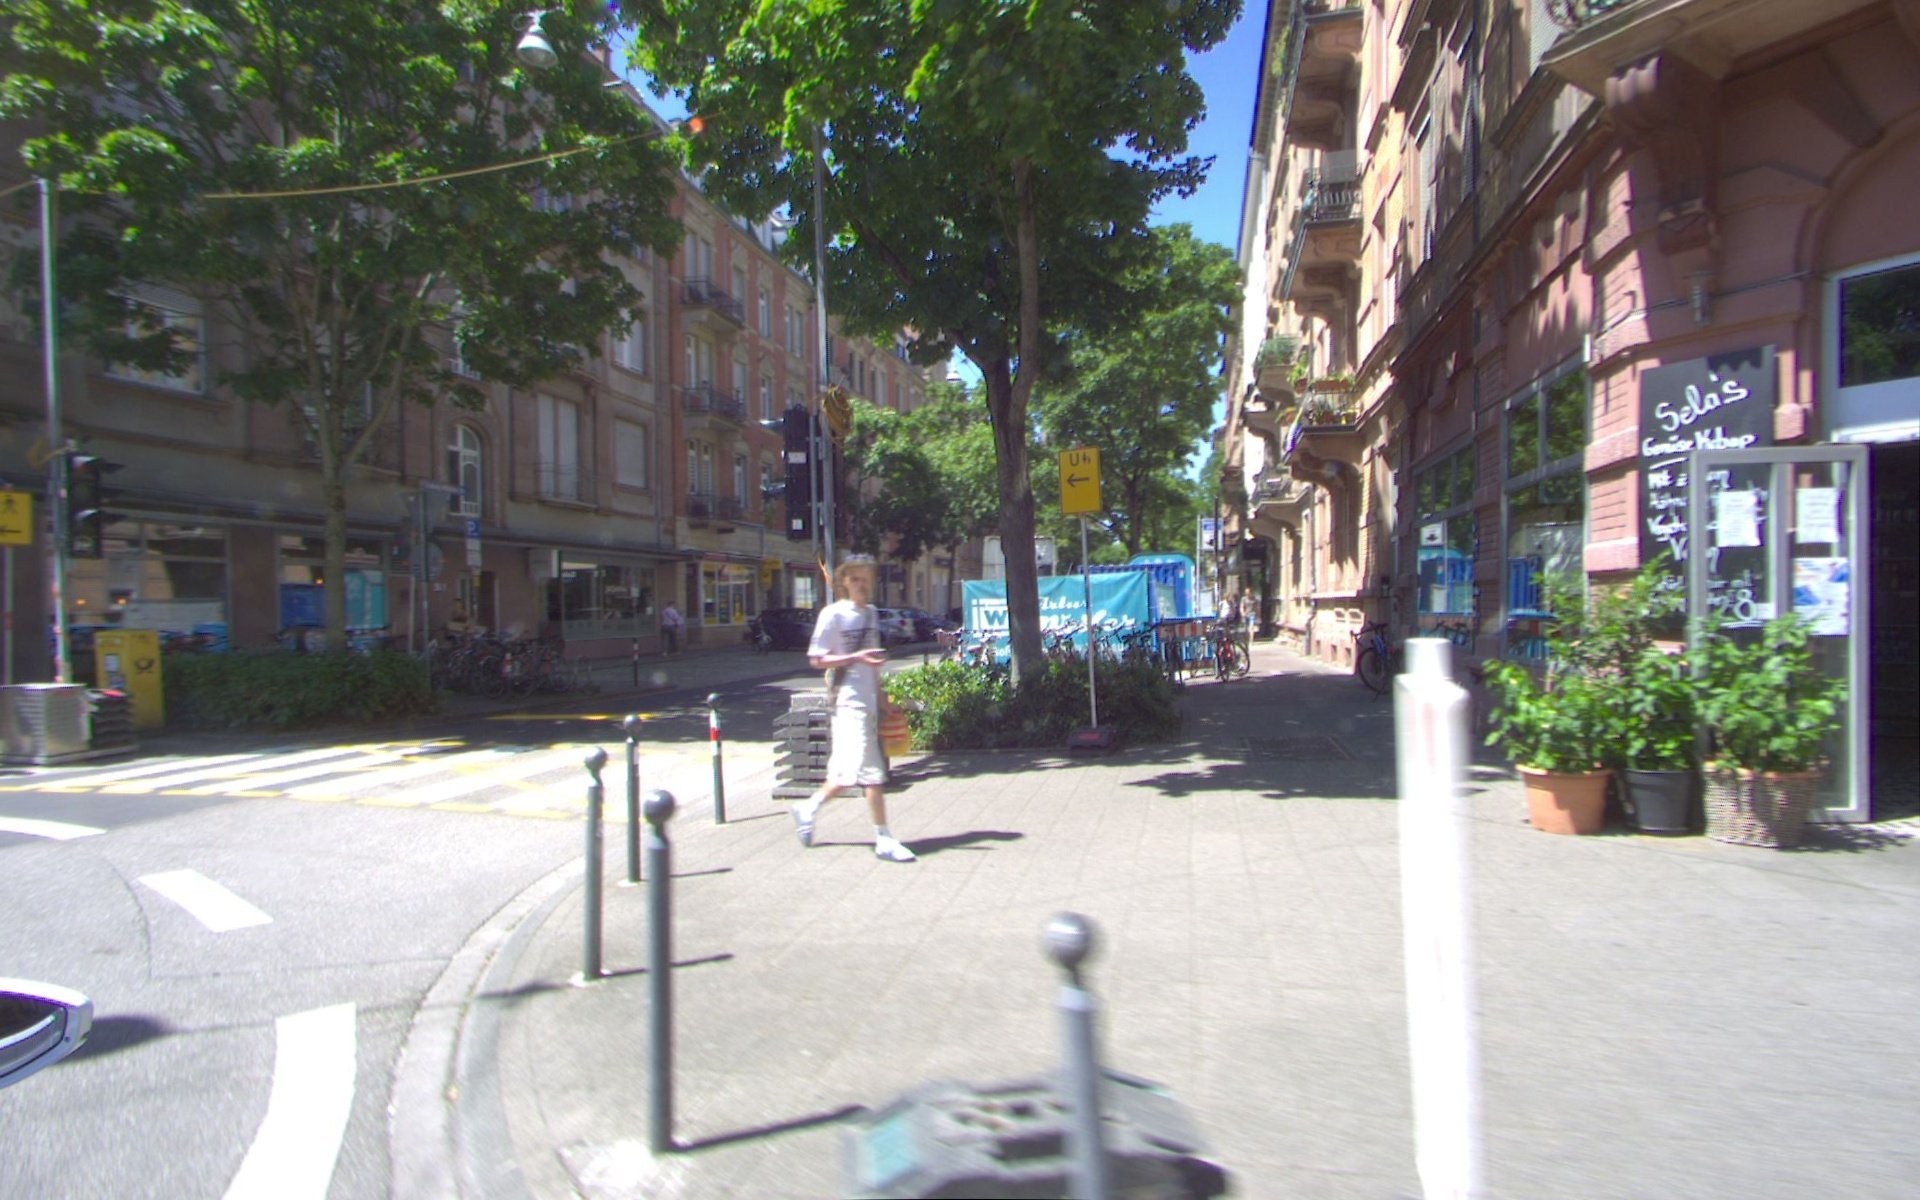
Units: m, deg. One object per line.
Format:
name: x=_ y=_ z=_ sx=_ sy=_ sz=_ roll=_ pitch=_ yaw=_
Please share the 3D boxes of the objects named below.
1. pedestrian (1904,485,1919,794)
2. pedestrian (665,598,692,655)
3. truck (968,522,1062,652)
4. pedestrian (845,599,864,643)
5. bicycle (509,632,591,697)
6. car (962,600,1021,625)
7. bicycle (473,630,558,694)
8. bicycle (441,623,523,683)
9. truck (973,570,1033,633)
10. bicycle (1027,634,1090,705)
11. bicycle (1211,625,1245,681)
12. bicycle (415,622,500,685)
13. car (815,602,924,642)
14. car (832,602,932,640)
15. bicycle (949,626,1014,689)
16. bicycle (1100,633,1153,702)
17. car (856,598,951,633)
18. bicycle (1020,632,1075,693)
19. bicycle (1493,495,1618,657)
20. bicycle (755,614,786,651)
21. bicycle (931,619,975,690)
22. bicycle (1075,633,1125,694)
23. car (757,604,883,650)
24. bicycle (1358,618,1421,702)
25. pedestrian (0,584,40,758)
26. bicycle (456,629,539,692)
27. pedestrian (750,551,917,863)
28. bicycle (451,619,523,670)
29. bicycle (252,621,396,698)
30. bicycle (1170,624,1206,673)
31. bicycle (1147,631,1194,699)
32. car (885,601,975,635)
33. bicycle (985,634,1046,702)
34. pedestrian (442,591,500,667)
pedestrian: x=6.114 y=0.226 z=5.738 sx=0.450 sy=1.844 sz=0.936 roll=-5 pitch=3 yaw=-33
pedestrian: x=-8.231 y=0.776 z=29.280 sx=0.549 sy=1.636 sz=0.491 roll=0 pitch=1 yaw=19
truck: x=1.906 y=-0.382 z=33.168 sx=2.246 sy=4.007 sz=4.472 roll=-1 pitch=0 yaw=15
pedestrian: x=-3.866 y=0.764 z=36.649 sx=0.533 sy=1.604 sz=0.478 roll=0 pitch=1 yaw=12
bicycle: x=-7.223 y=1.109 z=17.715 sx=0.461 sy=1.010 sz=1.765 roll=1 pitch=1 yaw=10
car: x=1.911 y=0.766 z=60.655 sx=3.358 sy=1.483 sz=1.617 roll=-1 pitch=0 yaw=11
bicycle: x=-7.808 y=1.069 z=17.658 sx=0.461 sy=1.010 sz=1.765 roll=1 pitch=1 yaw=10
bicycle: x=-8.950 y=0.972 z=18.823 sx=0.461 sy=1.010 sz=1.765 roll=1 pitch=1 yaw=10
truck: x=2.122 y=0.074 z=48.230 sx=1.963 sy=2.894 sz=4.263 roll=-1 pitch=0 yaw=15
bicycle: x=1.452 y=0.966 z=14.450 sx=0.500 sy=0.883 sz=2.071 roll=0 pitch=0 yaw=17
bicycle: x=4.794 y=0.918 z=17.838 sx=0.500 sy=0.883 sz=2.071 roll=0 pitch=0 yaw=17
bicycle: x=-9.473 y=0.983 z=18.939 sx=0.461 sy=1.095 sz=1.765 roll=1 pitch=1 yaw=10
car: x=-3.423 y=0.807 z=38.198 sx=3.780 sy=1.458 sz=1.791 roll=0 pitch=1 yaw=11
car: x=-3.203 y=0.843 z=41.265 sx=3.780 sy=1.458 sz=1.791 roll=0 pitch=1 yaw=11
bicycle: x=0.373 y=0.893 z=16.116 sx=0.500 sy=0.883 sz=2.071 roll=0 pitch=0 yaw=17
bicycle: x=2.483 y=0.958 z=14.777 sx=0.500 sy=0.883 sz=2.071 roll=0 pitch=0 yaw=17
car: x=-2.411 y=0.631 z=43.334 sx=3.780 sy=1.458 sz=1.791 roll=0 pitch=1 yaw=11
bicycle: x=1.496 y=1.021 z=16.824 sx=0.500 sy=0.883 sz=2.071 roll=0 pitch=0 yaw=17
bicycle: x=4.698 y=-0.167 z=7.973 sx=0.501 sy=1.167 sz=1.424 roll=-1 pitch=0 yaw=16
bicycle: x=-5.844 y=0.985 z=30.813 sx=0.535 sy=1.060 sz=1.931 roll=-1 pitch=0 yaw=-23
bicycle: x=-0.095 y=0.905 z=17.167 sx=0.499 sy=1.122 sz=1.784 roll=-1 pitch=0 yaw=7
bicycle: x=2.360 y=1.026 z=16.697 sx=0.500 sy=0.883 sz=2.071 roll=0 pitch=0 yaw=17
car: x=-4.616 y=0.862 z=33.328 sx=3.780 sy=1.458 sz=1.791 roll=0 pitch=1 yaw=11
bicycle: x=5.732 y=0.769 z=13.432 sx=0.513 sy=1.021 sz=1.694 roll=0 pitch=0 yaw=14
pedestrian: x=-10.235 y=0.745 z=10.576 sx=0.462 sy=1.794 sz=0.576 roll=3 pitch=3 yaw=5
bicycle: x=-8.293 y=1.060 z=18.025 sx=0.461 sy=1.019 sz=1.688 roll=1 pitch=1 yaw=10
pedestrian: x=-0.767 y=0.614 z=6.062 sx=0.859 sy=1.755 sz=0.476 roll=-2 pitch=0 yaw=33
bicycle: x=-10.094 y=0.928 z=21.433 sx=0.495 sy=1.010 sz=1.728 roll=1 pitch=1 yaw=10
bicycle: x=-10.444 y=0.946 z=16.530 sx=0.509 sy=1.147 sz=1.977 roll=0 pitch=0 yaw=31
bicycle: x=4.609 y=0.958 z=20.173 sx=0.500 sy=0.883 sz=2.071 roll=0 pitch=0 yaw=19
bicycle: x=3.202 y=0.947 z=15.109 sx=0.500 sy=0.883 sz=2.071 roll=0 pitch=0 yaw=17
car: x=-1.358 y=0.802 z=45.412 sx=3.780 sy=1.458 sz=1.791 roll=0 pitch=1 yaw=11
bicycle: x=0.854 y=0.988 z=14.981 sx=0.500 sy=0.883 sz=1.742 roll=0 pitch=0 yaw=17
pedestrian: x=-10.977 y=0.641 z=22.507 sx=0.773 sy=1.656 sz=0.858 roll=0 pitch=1 yaw=13
